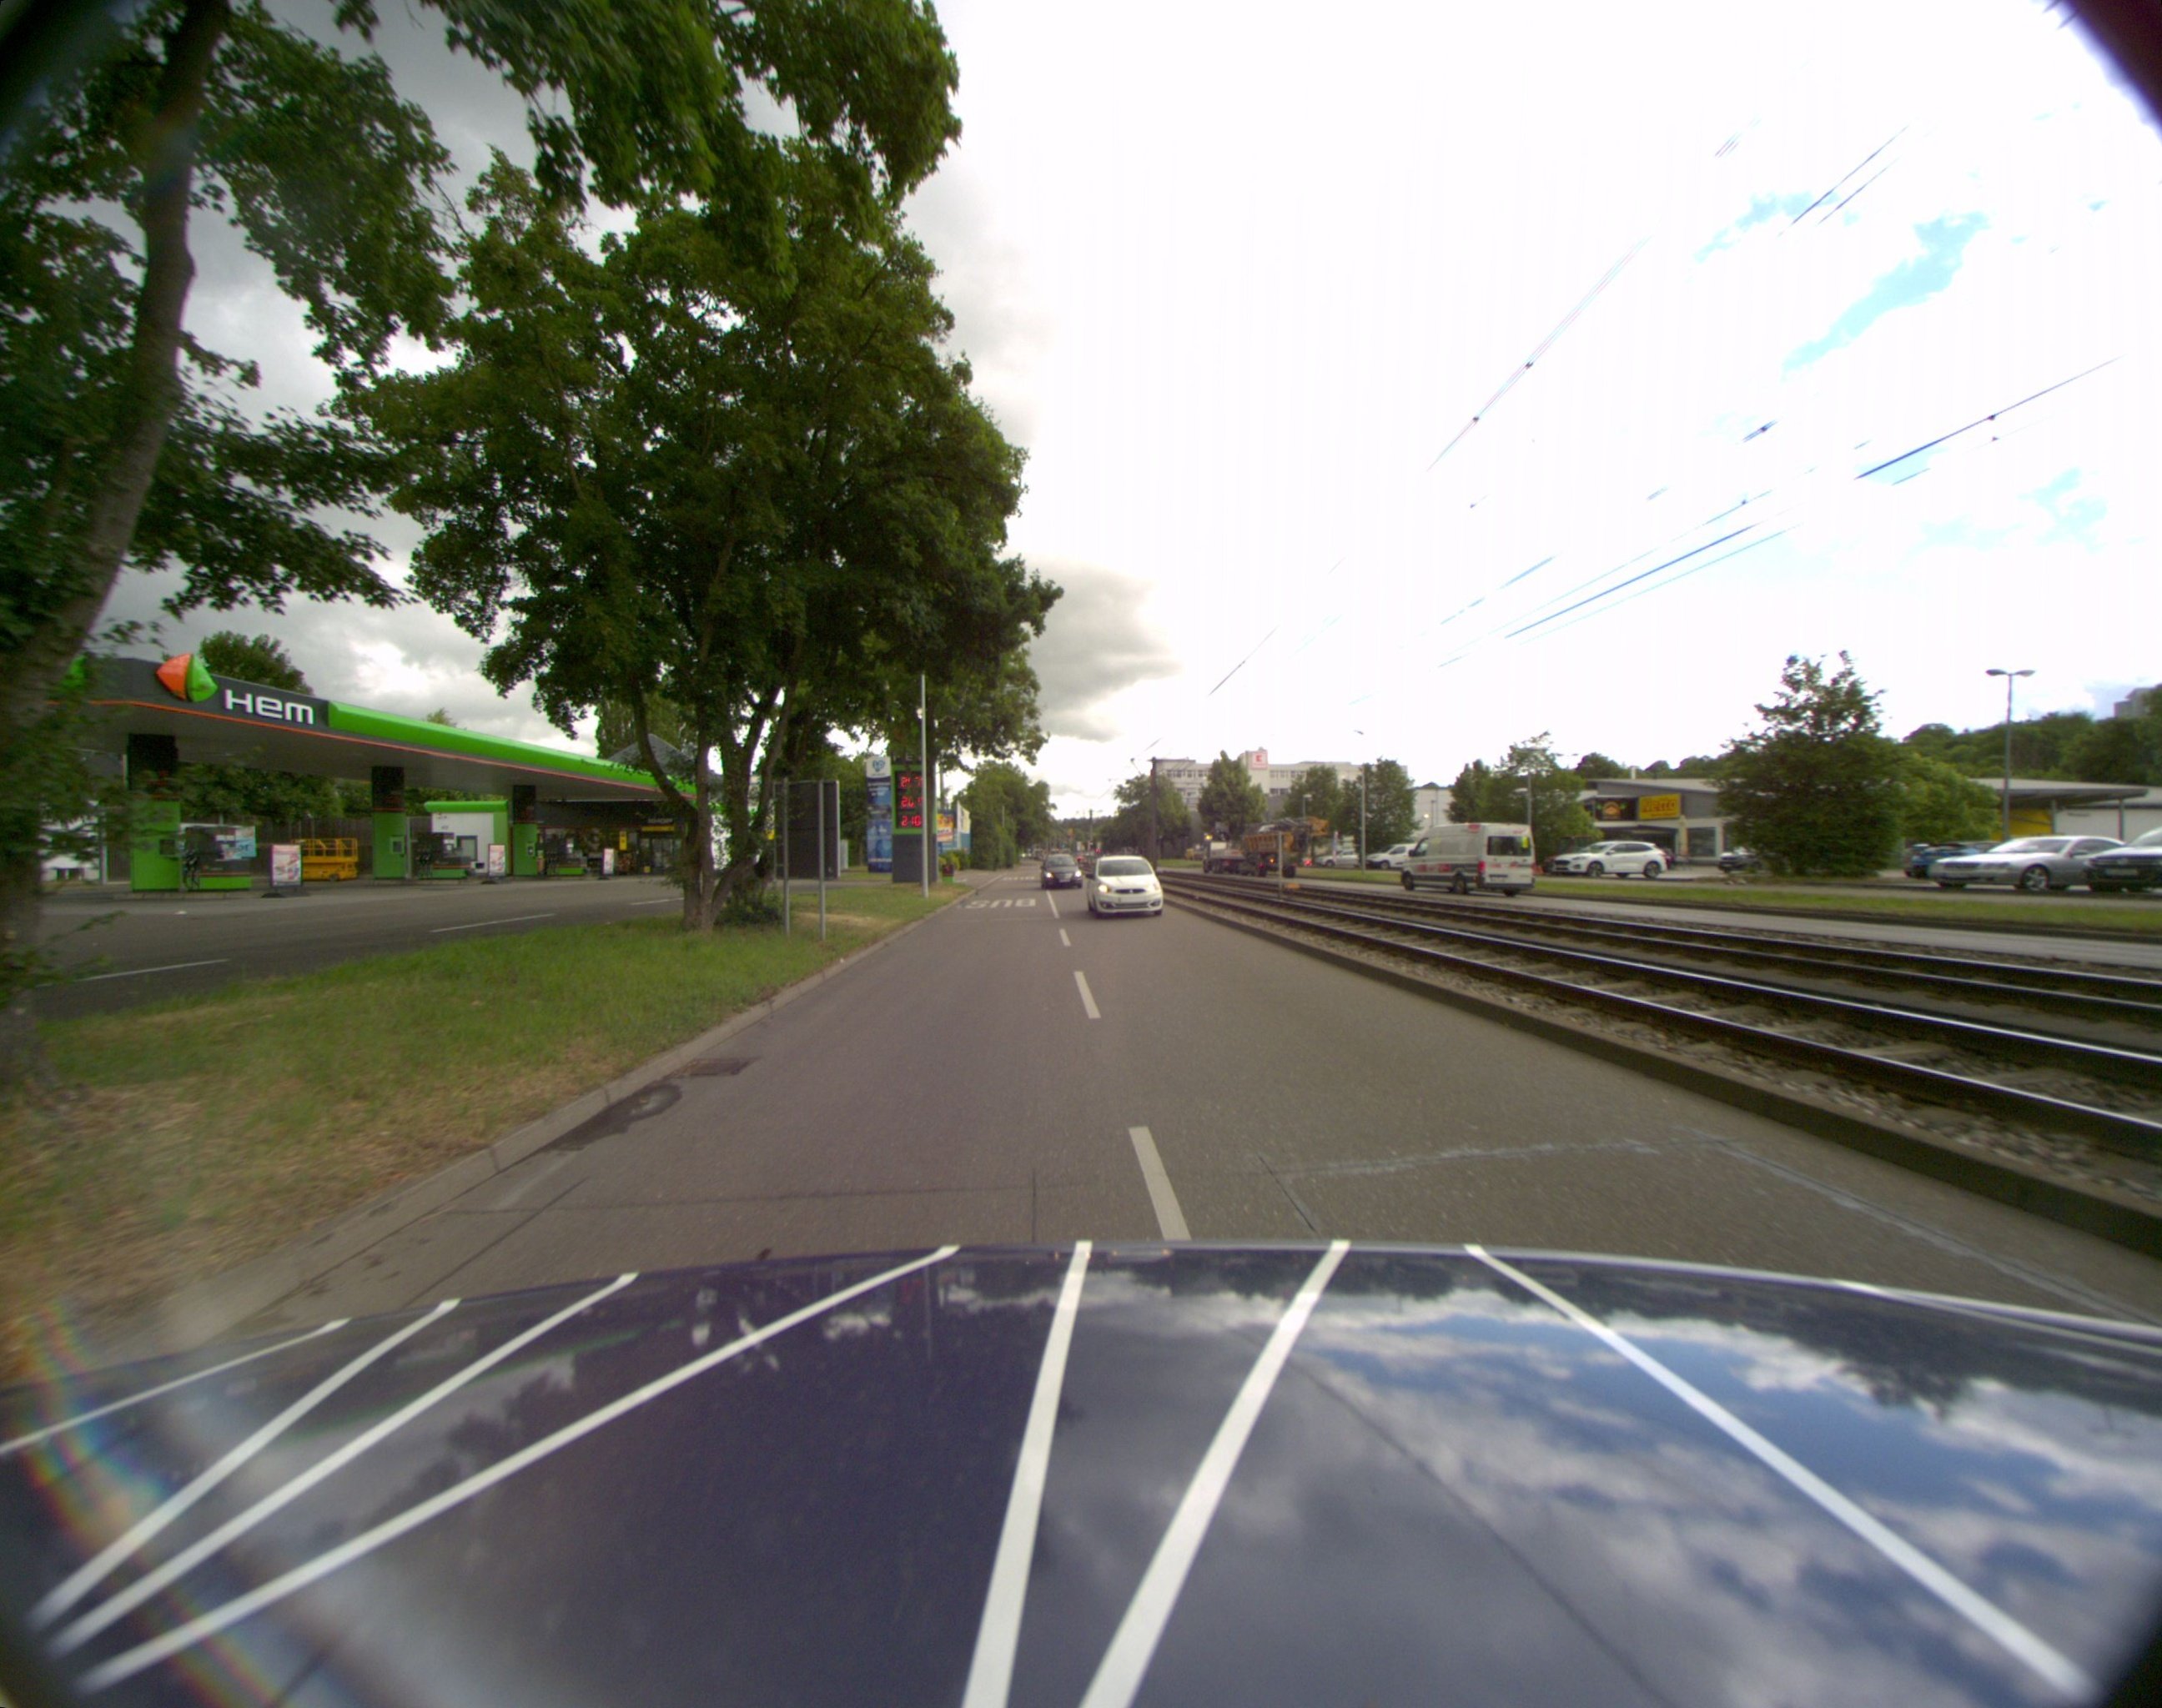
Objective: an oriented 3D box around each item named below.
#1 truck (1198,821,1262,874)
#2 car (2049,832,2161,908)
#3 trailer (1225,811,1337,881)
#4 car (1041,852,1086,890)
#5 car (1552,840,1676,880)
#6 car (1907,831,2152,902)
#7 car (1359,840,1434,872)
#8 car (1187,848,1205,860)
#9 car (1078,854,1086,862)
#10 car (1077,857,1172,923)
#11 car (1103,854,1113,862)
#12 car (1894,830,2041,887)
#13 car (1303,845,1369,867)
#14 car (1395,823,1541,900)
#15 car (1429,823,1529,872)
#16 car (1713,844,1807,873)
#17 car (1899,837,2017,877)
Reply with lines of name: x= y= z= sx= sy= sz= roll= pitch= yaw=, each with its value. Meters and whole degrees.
truck: x=11.849 y=-0.488 z=61.287 sx=2.900 sy=3.943 sz=8.628 roll=0 pitch=0 yaw=-4
car: x=24.824 y=0.279 z=17.031 sx=3.998 sy=1.498 sz=1.936 roll=-3 pitch=0 yaw=-4
trailer: x=12.577 y=-0.439 z=49.777 sx=2.679 sy=3.874 sz=14.420 roll=1 pitch=0 yaw=-3
car: x=-0.903 y=0.767 z=36.435 sx=1.787 sy=1.614 sz=3.998 roll=-3 pitch=0 yaw=-5
car: x=23.925 y=0.255 z=34.170 sx=4.483 sy=1.498 sz=1.794 roll=-3 pitch=1 yaw=-7
car: x=24.255 y=0.299 z=19.538 sx=3.998 sy=1.498 sz=2.001 roll=-3 pitch=0 yaw=-4
car: x=21.916 y=0.137 z=52.885 sx=4.356 sy=1.908 sz=2.000 roll=-3 pitch=1 yaw=0
car: x=18.875 y=0.003 z=124.914 sx=1.999 sy=2.002 sz=3.998 roll=0 pitch=0 yaw=-4
car: x=0.295 y=1.150 z=222.529 sx=1.999 sy=2.002 sz=3.998 roll=-3 pitch=0 yaw=-5
car: x=1.010 y=0.838 z=19.709 sx=1.787 sy=1.435 sz=3.998 roll=-3 pitch=0 yaw=-5
car: x=6.810 y=0.994 z=192.486 sx=1.999 sy=2.002 sz=3.998 roll=-3 pitch=0 yaw=-5
car: x=35.040 y=0.175 z=30.091 sx=3.739 sy=2.002 sz=1.951 roll=-3 pitch=1 yaw=-6
car: x=20.889 y=0.173 z=62.370 sx=4.612 sy=1.484 sz=2.000 roll=-3 pitch=0 yaw=0
car: x=13.931 y=0.254 z=27.887 sx=1.874 sy=2.484 sz=5.997 roll=1 pitch=0 yaw=-5
car: x=22.675 y=-0.358 z=43.423 sx=4.482 sy=2.732 sz=2.288 roll=0 pitch=1 yaw=-4
car: x=39.883 y=0.261 z=44.679 sx=3.998 sy=1.498 sz=1.776 roll=-3 pitch=1 yaw=-4
car: x=40.837 y=0.125 z=35.415 sx=3.739 sy=1.613 sz=1.722 roll=-3 pitch=1 yaw=-6
